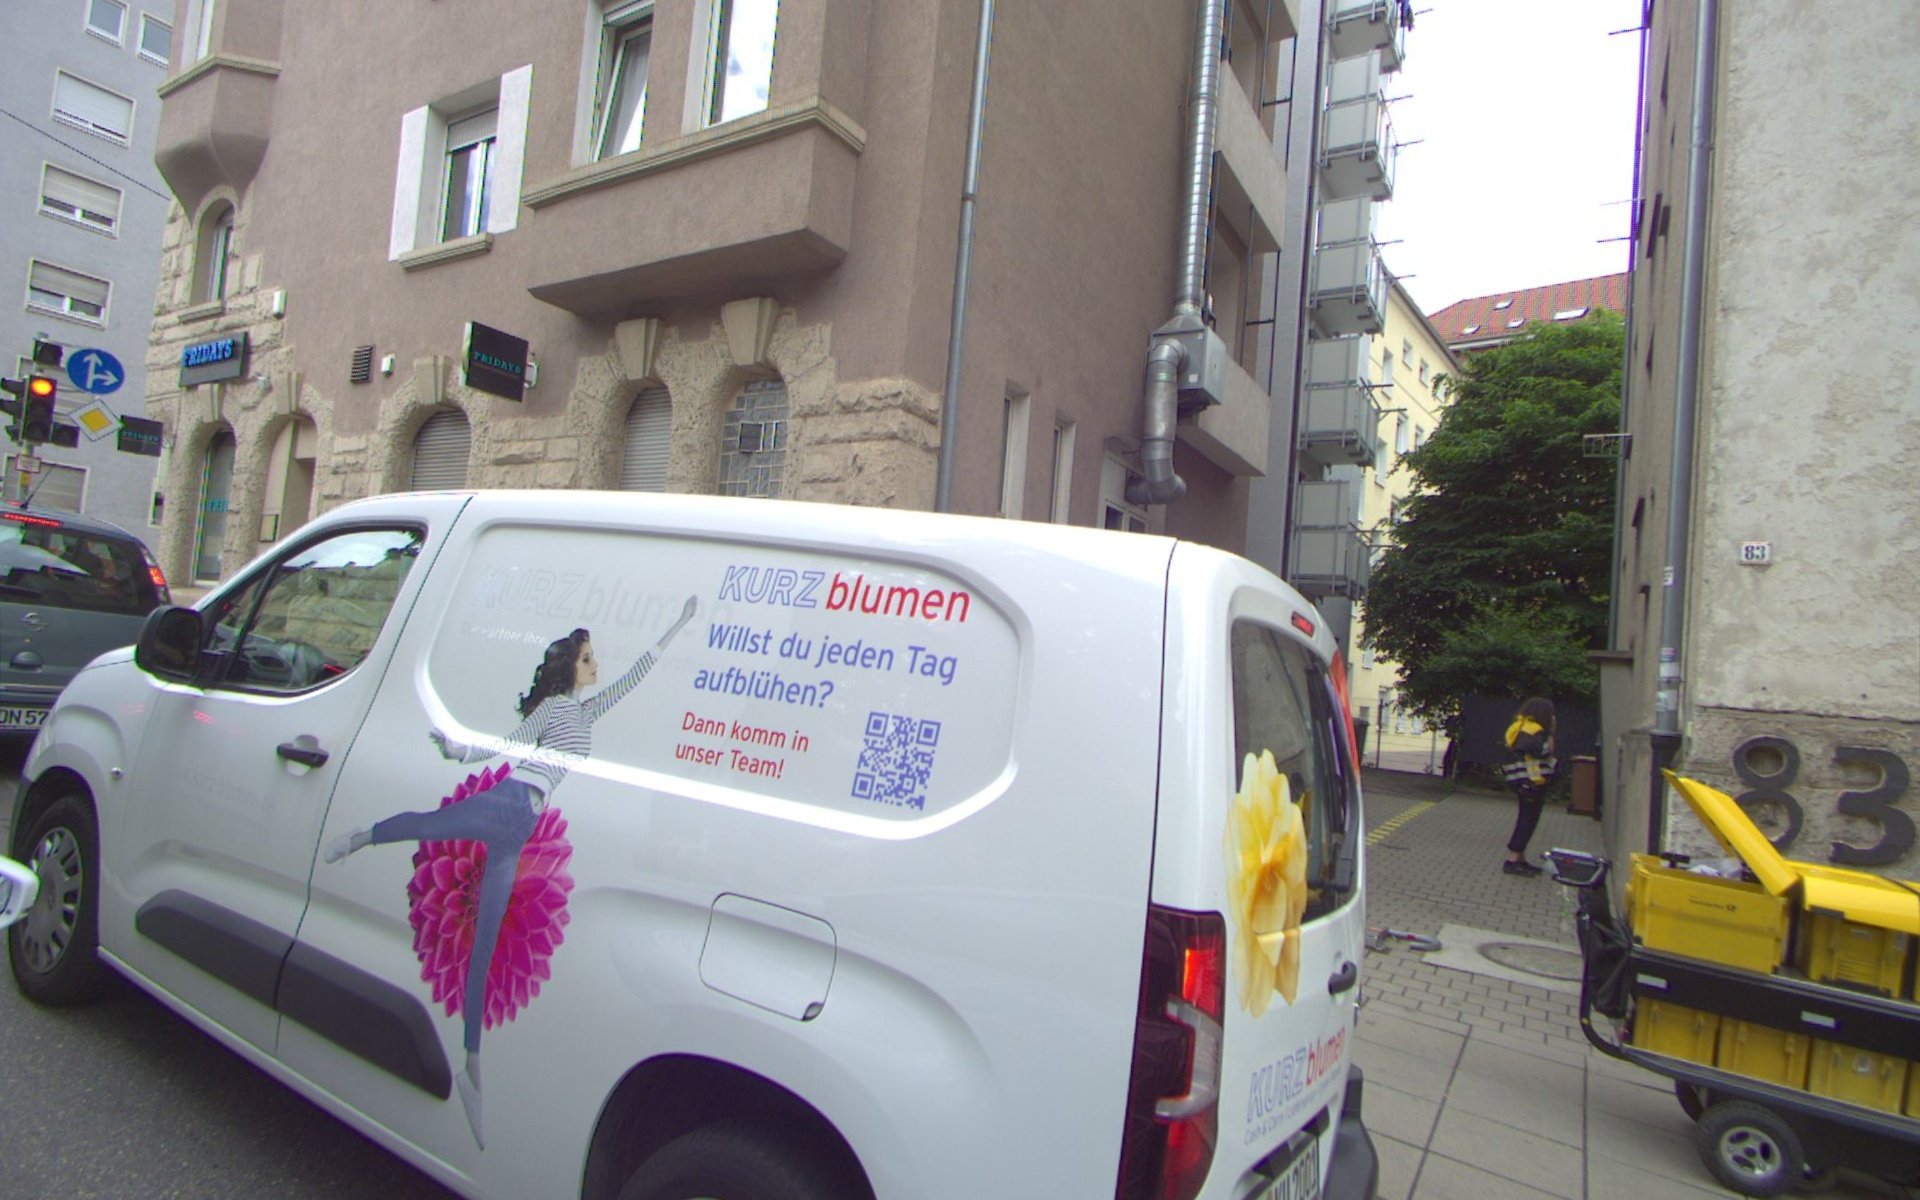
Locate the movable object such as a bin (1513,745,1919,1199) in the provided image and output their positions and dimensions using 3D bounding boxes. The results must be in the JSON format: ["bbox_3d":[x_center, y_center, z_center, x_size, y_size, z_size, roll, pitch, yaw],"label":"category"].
[{"bbox_3d":[3.386,1.458,3.967,1.979,1.391,1.223,6,0,30],"label":"movable object such as a bin"}]

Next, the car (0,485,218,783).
[{"bbox_3d":[-6.710,0.048,6.529,3.608,1.614,1.634,6,-5,32],"label":"car"}]

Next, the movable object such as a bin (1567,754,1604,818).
[{"bbox_3d":[9.932,2.943,15.980,0.405,0.922,0.340,6,-1,32],"label":"movable object such as a bin"}]

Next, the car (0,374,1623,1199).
[{"bbox_3d":[-0.883,0.568,3.103,4.597,1.793,1.983,6,-5,30],"label":"car"}]

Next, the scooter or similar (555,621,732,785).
[{"bbox_3d":[-2.616,0.820,8.278,1.400,1.117,0.527,6,-1,34],"label":"scooter or similar"}]

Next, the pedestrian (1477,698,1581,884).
[{"bbox_3d":[5.541,1.815,9.841,0.770,1.665,0.811,1,-3,23],"label":"pedestrian"}]
